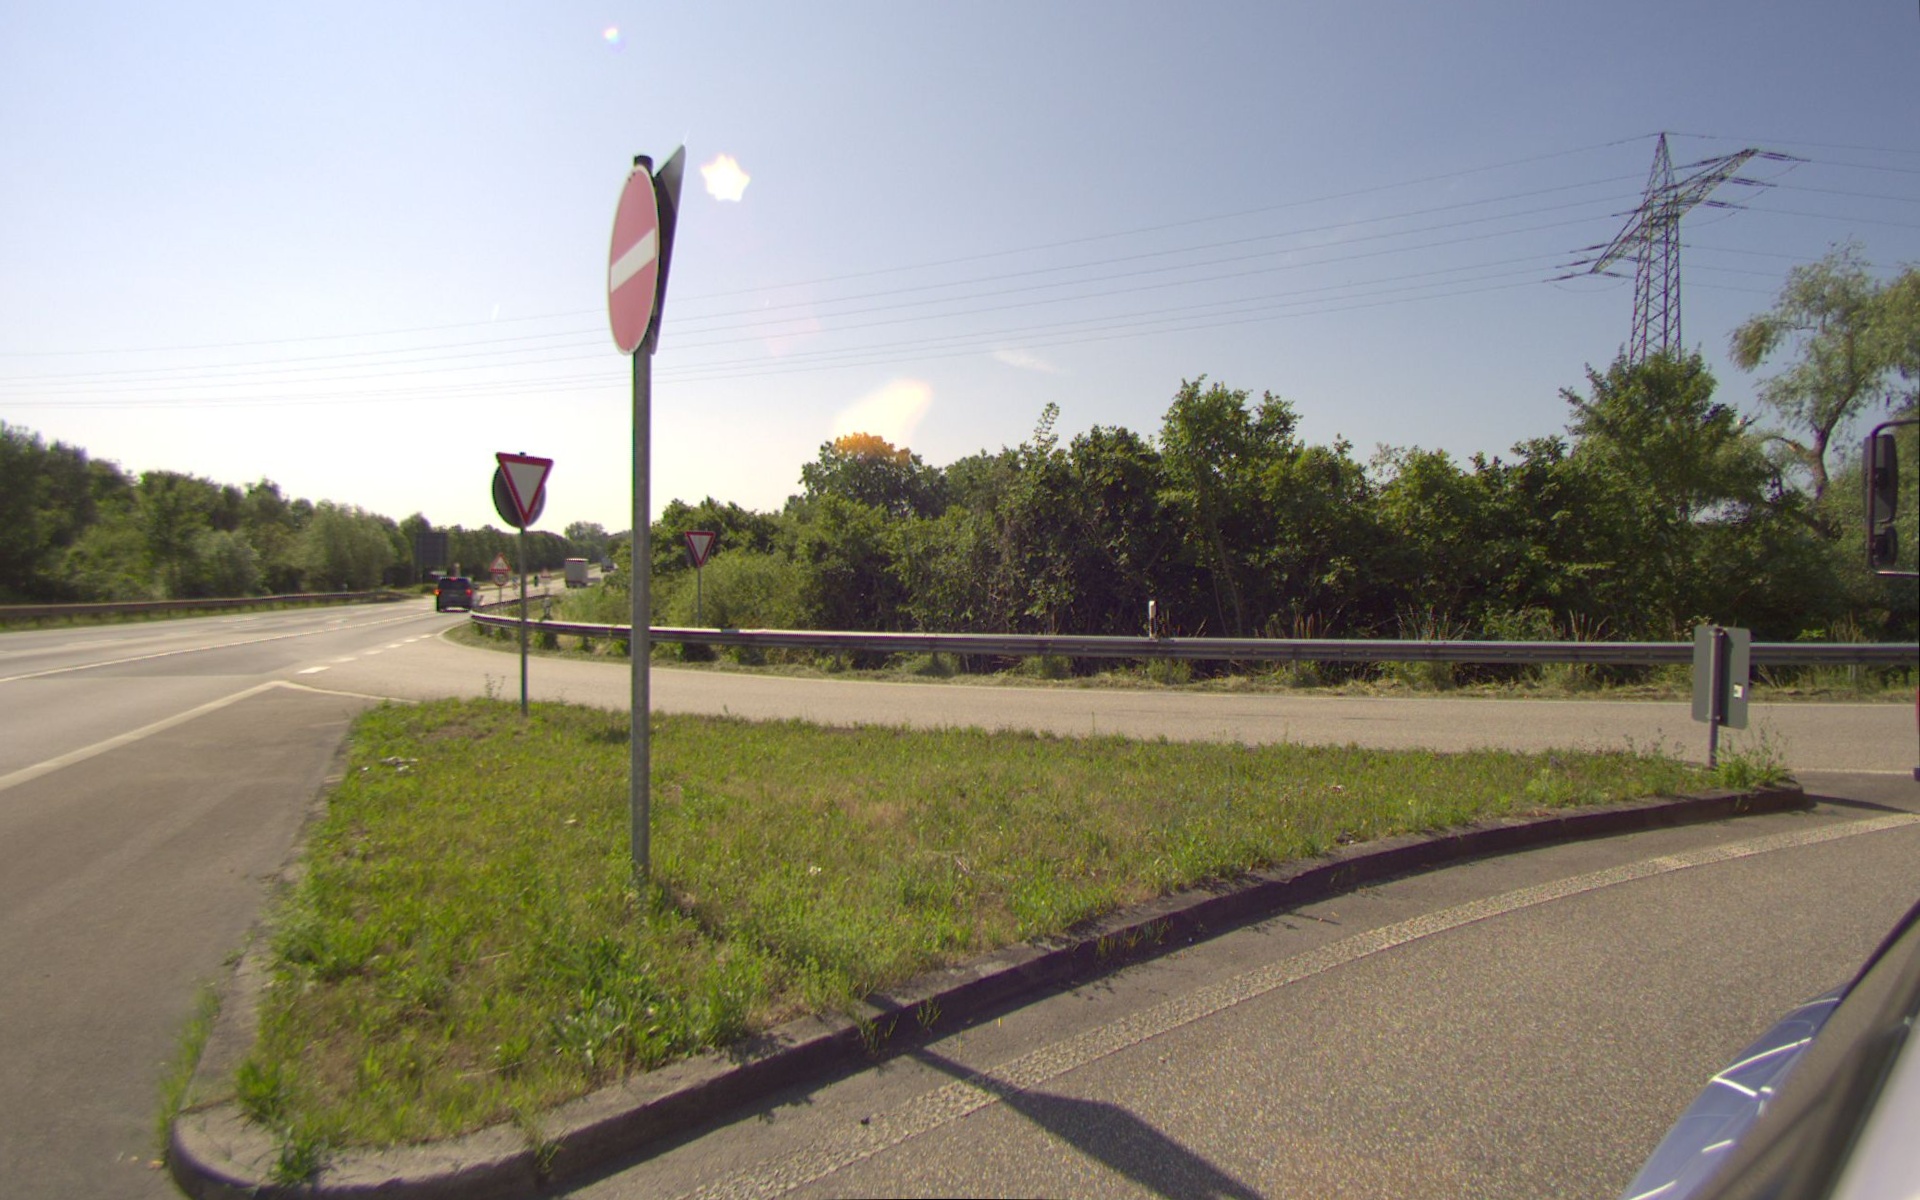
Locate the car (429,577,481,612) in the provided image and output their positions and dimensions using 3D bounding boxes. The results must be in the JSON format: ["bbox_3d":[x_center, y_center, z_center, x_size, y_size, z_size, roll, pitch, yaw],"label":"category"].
[{"bbox_3d":[-28.676,-0.305,57.565,1.958,1.903,5.004,0,0,-18],"label":"car"}]

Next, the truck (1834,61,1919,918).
[{"bbox_3d":[8.704,-0.469,5.314,9.070,3.707,2.696,0,0,-25],"label":"truck"}]

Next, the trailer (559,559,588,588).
[{"bbox_3d":[-56.979,-3.867,149.448,2.868,4.060,13.447,2,1,-17],"label":"trailer"}]
